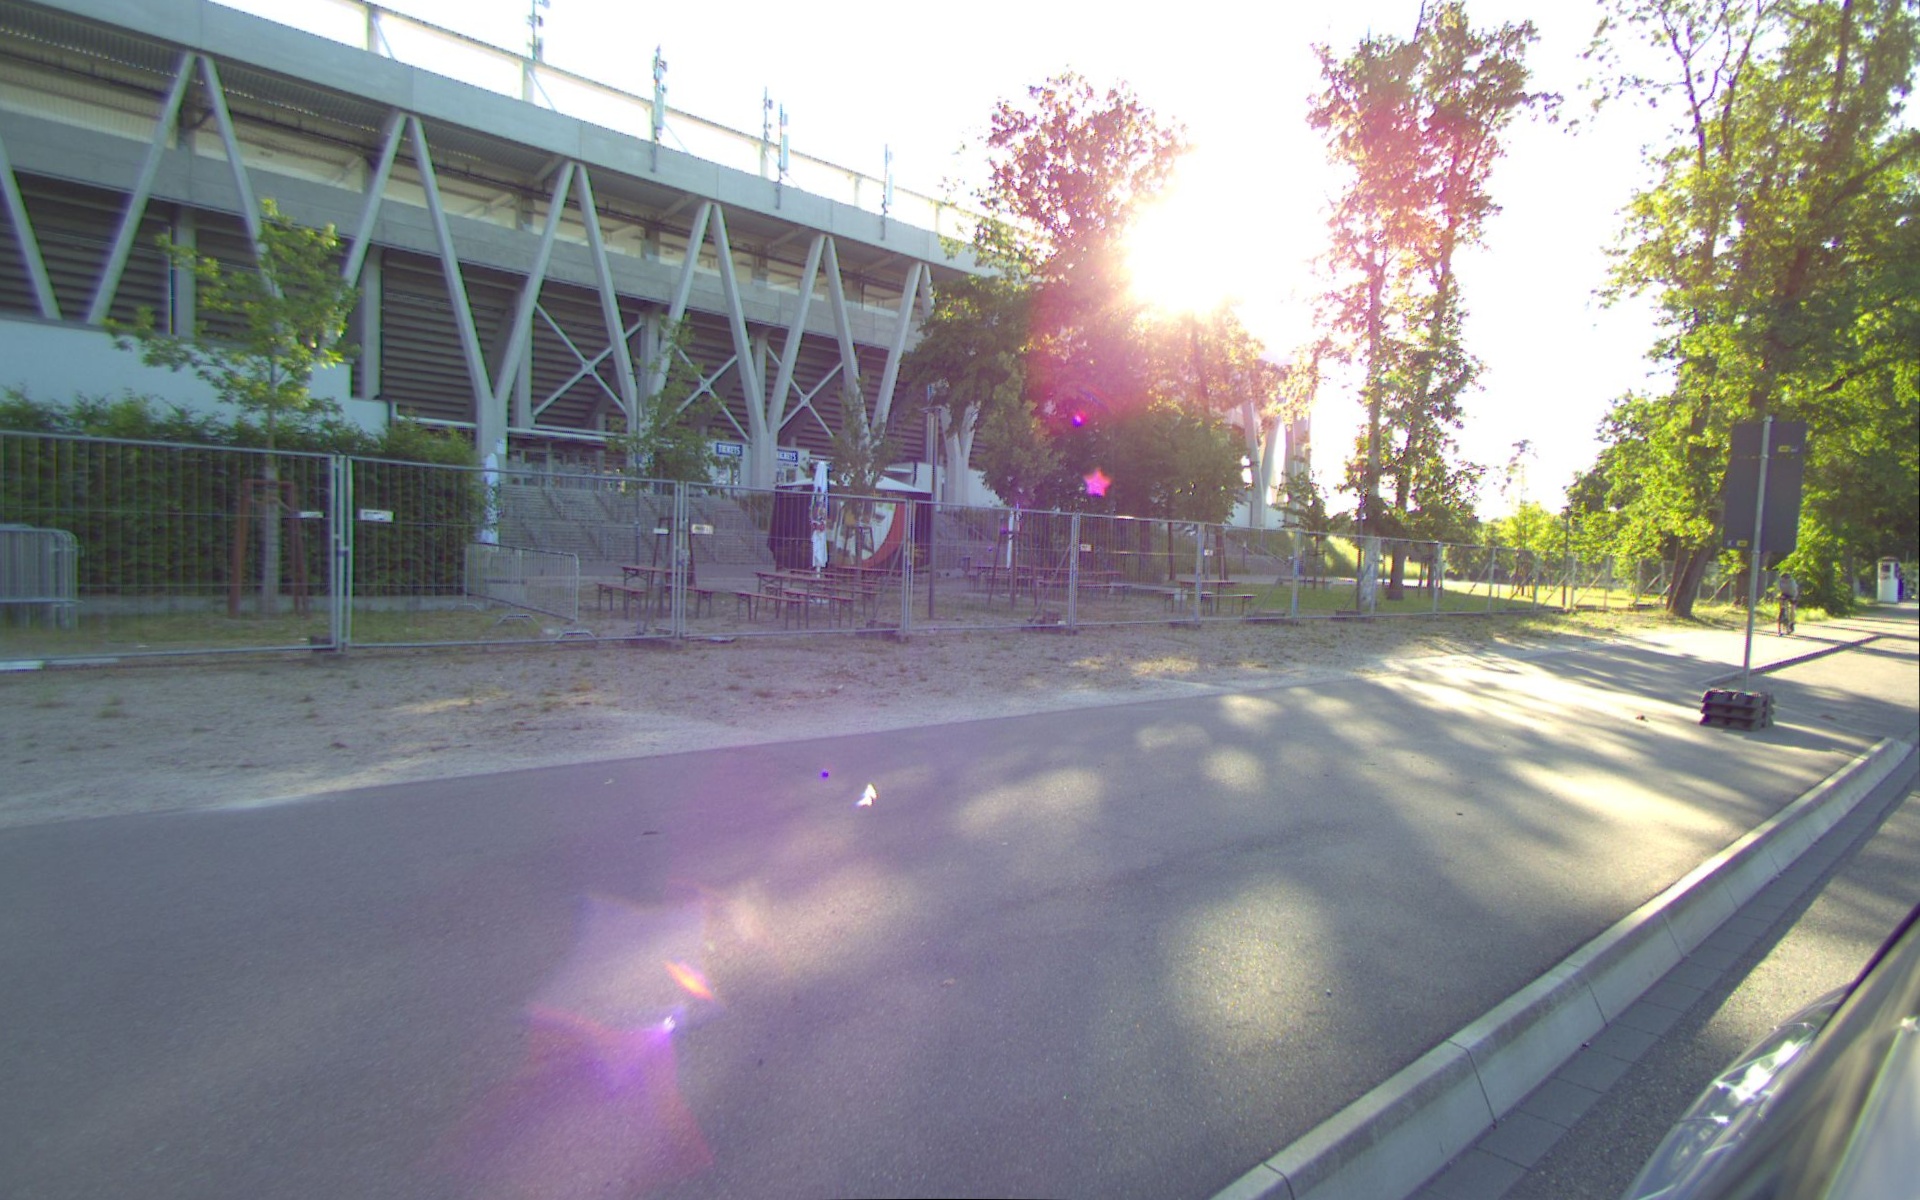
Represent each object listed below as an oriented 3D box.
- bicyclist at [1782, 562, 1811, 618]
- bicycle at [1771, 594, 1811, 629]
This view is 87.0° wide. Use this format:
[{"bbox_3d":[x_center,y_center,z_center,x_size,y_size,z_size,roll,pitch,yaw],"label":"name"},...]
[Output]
[{"bbox_3d":[22.090,-0.265,26.735,0.565,1.438,0.451,-1,3,-40],"label":"bicyclist"},{"bbox_3d":[21.786,0.284,26.523,1.876,0.869,0.481,-1,3,-41],"label":"bicycle"}]
